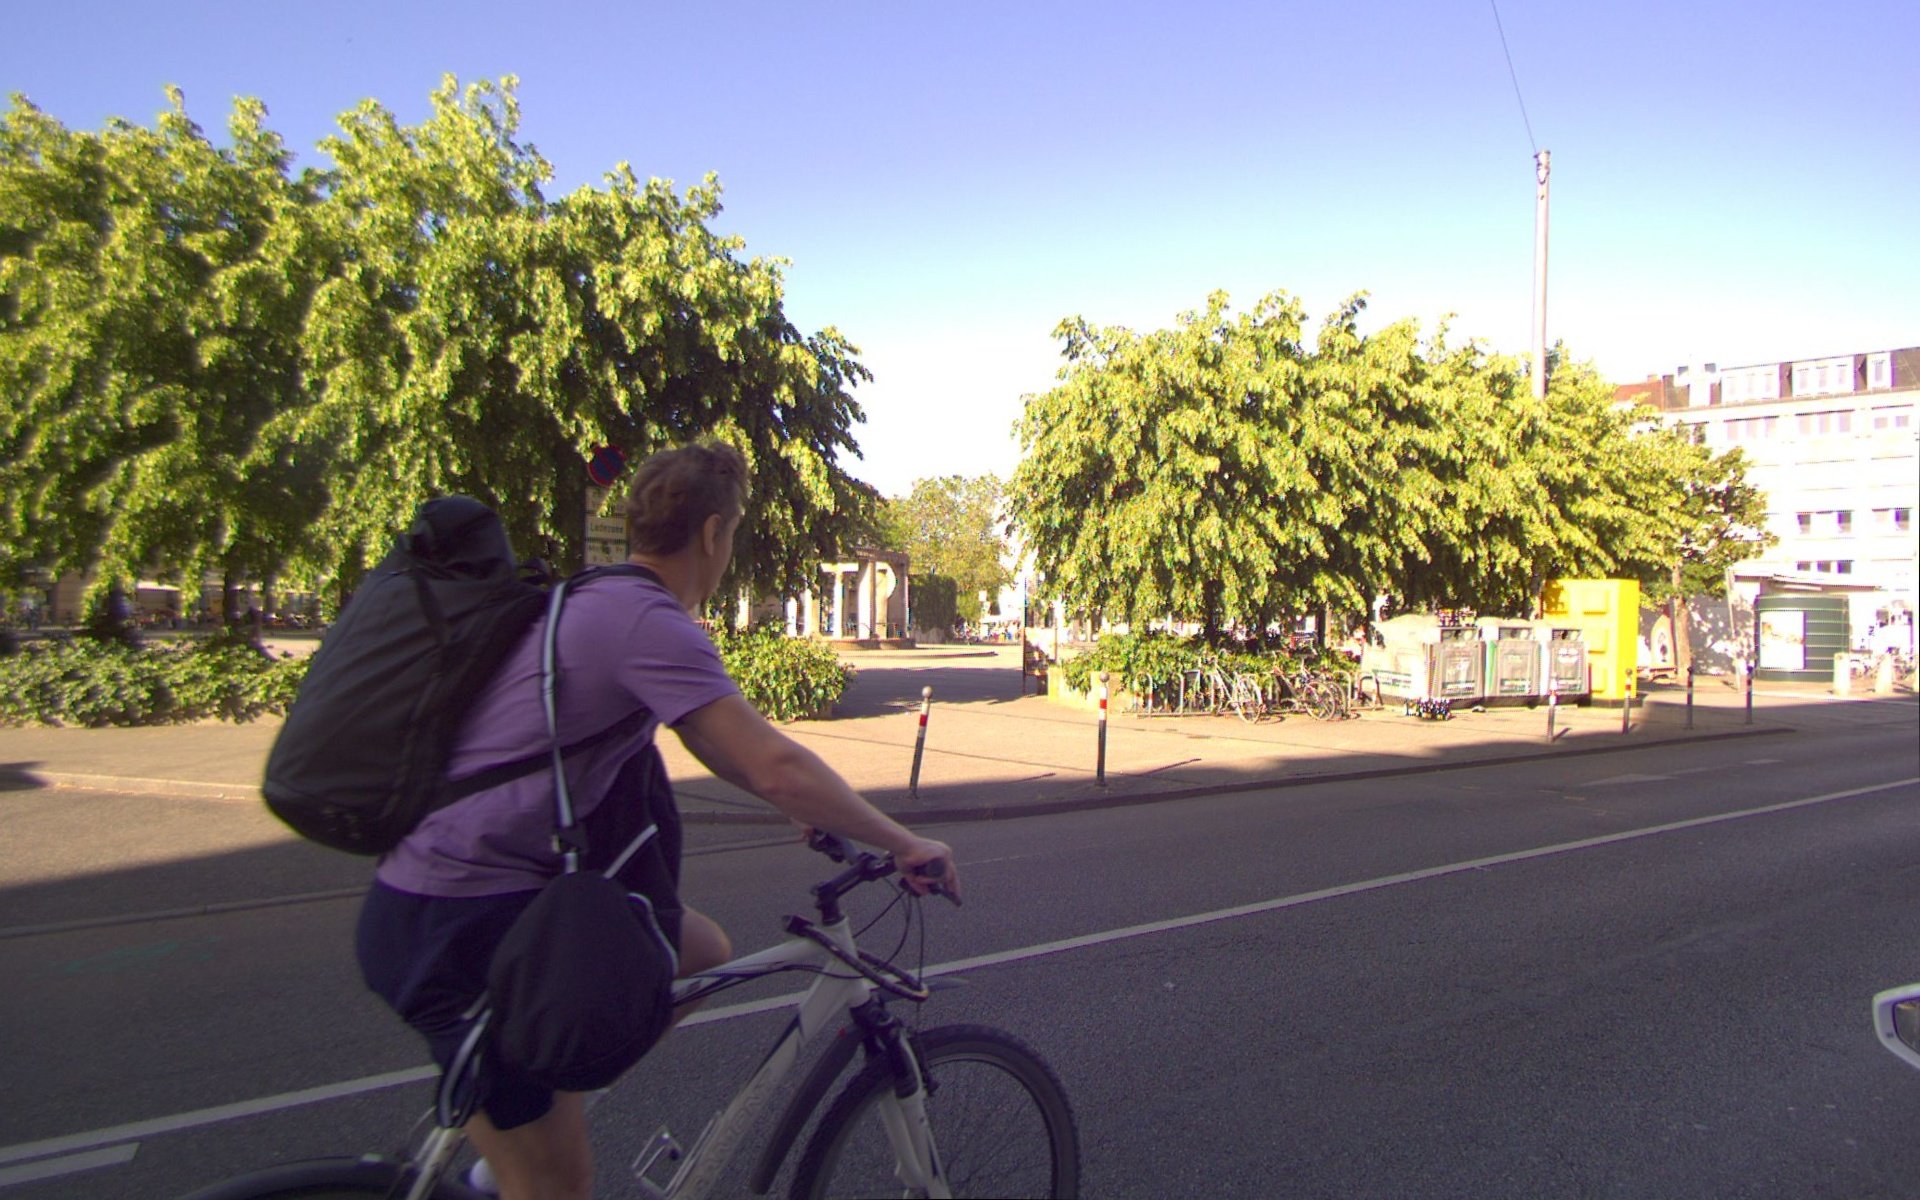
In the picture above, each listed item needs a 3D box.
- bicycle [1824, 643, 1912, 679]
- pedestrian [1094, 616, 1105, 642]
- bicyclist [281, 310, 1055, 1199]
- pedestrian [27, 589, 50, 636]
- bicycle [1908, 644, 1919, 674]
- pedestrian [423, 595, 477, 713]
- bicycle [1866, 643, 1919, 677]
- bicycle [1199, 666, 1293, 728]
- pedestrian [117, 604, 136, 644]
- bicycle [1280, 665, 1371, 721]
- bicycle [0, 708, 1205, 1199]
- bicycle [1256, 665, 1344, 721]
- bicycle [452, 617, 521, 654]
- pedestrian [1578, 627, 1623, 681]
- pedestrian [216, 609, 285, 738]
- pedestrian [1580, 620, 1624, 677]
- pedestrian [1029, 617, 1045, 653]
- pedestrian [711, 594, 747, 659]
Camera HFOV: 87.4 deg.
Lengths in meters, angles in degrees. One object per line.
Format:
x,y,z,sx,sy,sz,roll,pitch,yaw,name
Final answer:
30.857,2.068,34.159,0.796,1.119,2.072,1,-1,-30,bicycle
9.958,2.087,71.864,0.591,1.816,0.581,1,0,-12,pedestrian
-0.485,0.428,1.669,0.996,1.454,0.792,1,-1,-30,bicyclist
-36.478,0.502,39.764,0.597,1.816,0.576,2,0,-40,pedestrian
37.125,2.251,37.712,0.796,1.119,2.072,1,-1,-30,bicycle
-8.410,0.874,16.565,0.574,1.881,0.598,1,0,41,pedestrian
33.163,2.116,35.133,0.796,1.119,2.072,1,-1,-30,bicycle
4.323,1.454,15.287,0.467,0.779,1.653,2,0,-20,bicycle
-37.992,1.089,45.762,0.597,1.816,0.575,2,0,-44,pedestrian
5.957,1.497,16.421,0.468,0.779,1.468,2,0,-27,bicycle
-0.533,0.866,1.641,1.753,1.249,0.792,1,-1,-30,bicycle
5.456,1.478,16.185,0.435,0.779,1.469,2,0,-25,bicycle
-14.118,1.058,29.929,2.018,1.030,0.504,1,0,16,bicycle
20.409,1.719,32.021,0.727,1.658,0.983,1,0,-26,pedestrian
-10.666,1.094,15.119,0.722,1.881,0.578,2,0,-28,pedestrian
20.355,1.524,31.861,0.734,1.748,0.898,1,0,-26,pedestrian
4.400,1.994,57.128,0.670,2.040,0.579,2,0,-23,pedestrian
-6.412,0.729,27.857,0.918,1.775,0.728,2,0,-15,pedestrian
